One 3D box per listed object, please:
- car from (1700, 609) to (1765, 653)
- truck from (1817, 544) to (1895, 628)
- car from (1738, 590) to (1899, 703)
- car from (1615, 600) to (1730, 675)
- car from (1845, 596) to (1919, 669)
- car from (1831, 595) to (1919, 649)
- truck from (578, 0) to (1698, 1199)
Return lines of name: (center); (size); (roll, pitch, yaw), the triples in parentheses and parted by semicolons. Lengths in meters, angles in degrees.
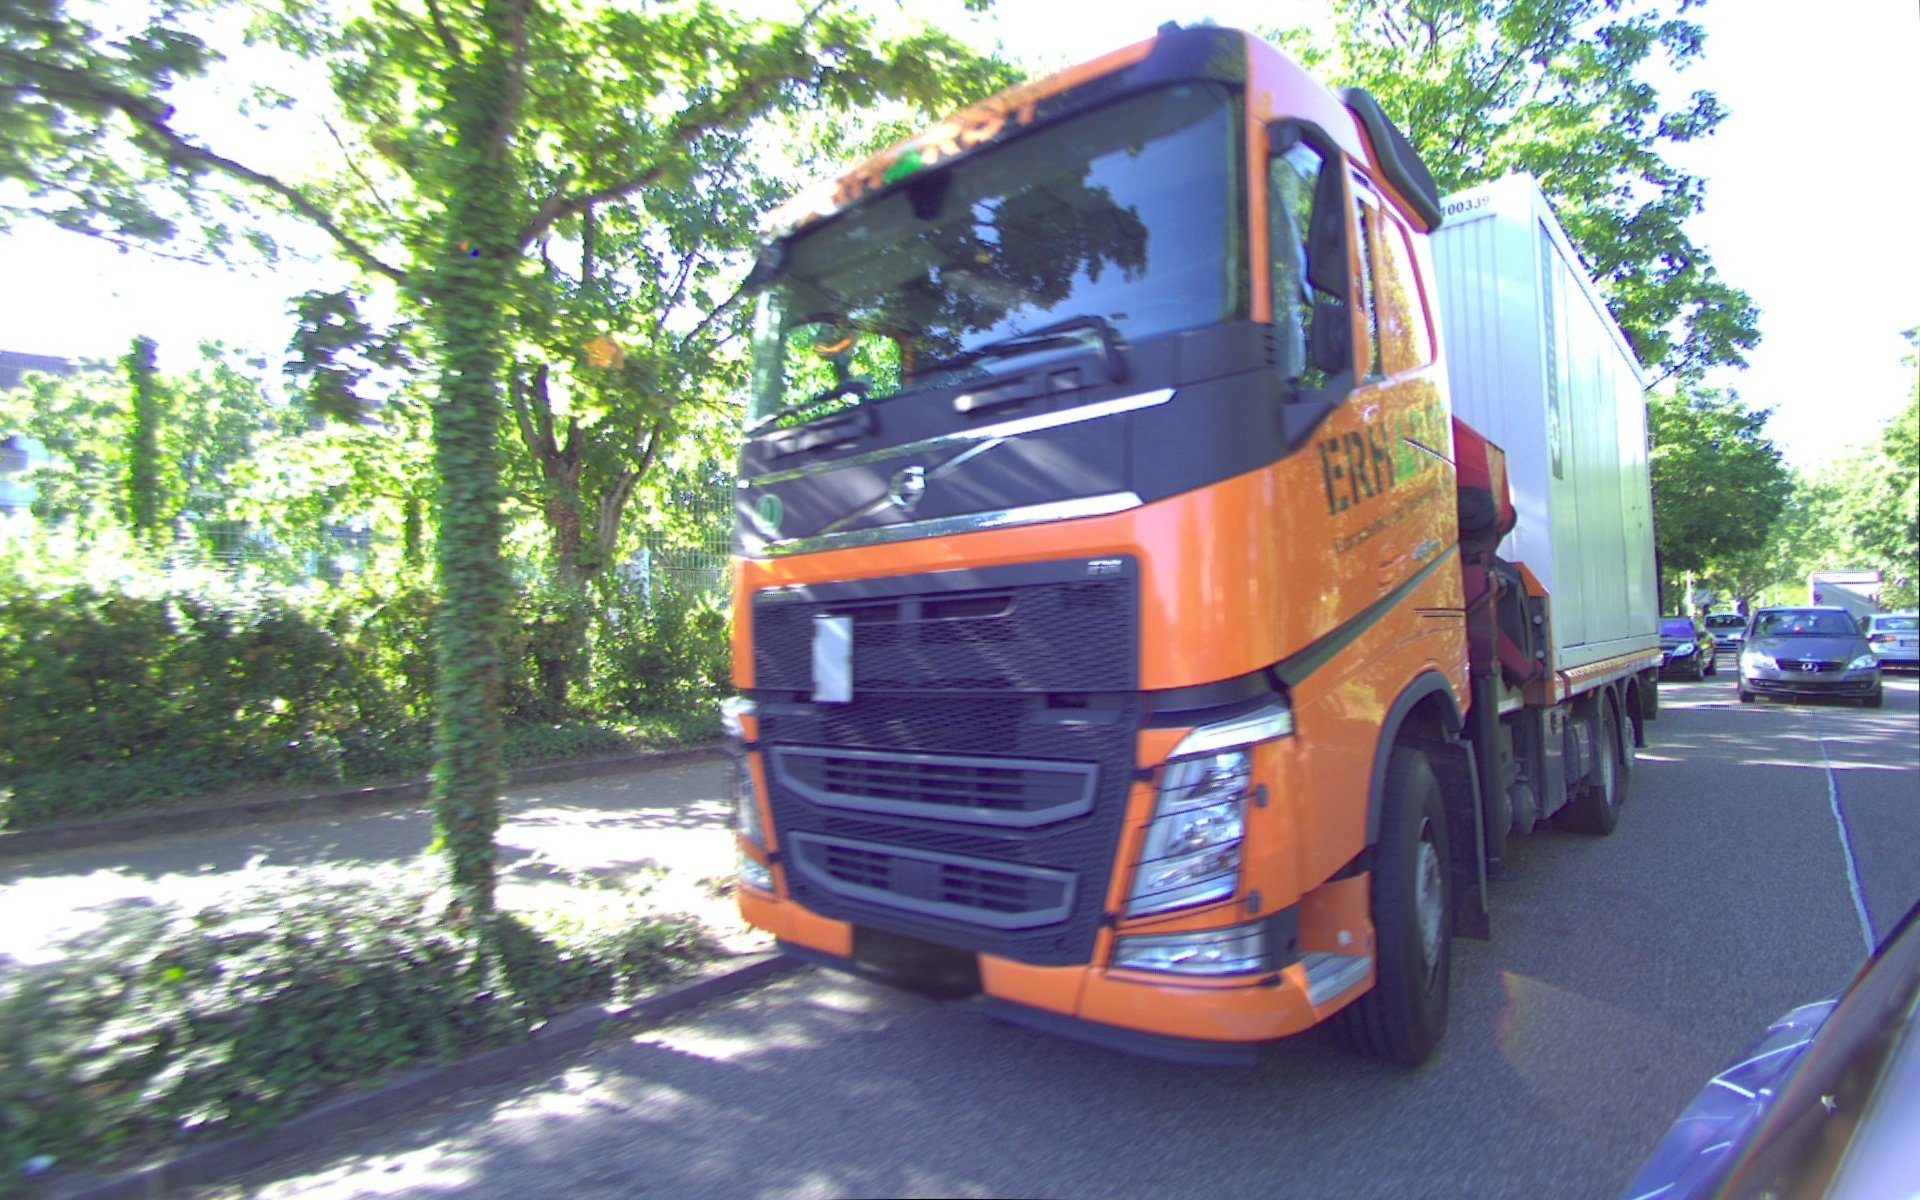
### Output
car: (32.020, 1.247, 41.953); (1.989, 1.730, 4.271); (-2, -2, 38)
truck: (46.932, -0.728, 53.197); (2.793, 4.069, 9.486); (0, 0, 40)
car: (14.347, 0.745, 17.013); (1.847, 1.666, 3.701); (-2, -2, 40)
car: (16.441, 0.832, 23.361); (1.968, 1.576, 4.098); (-2, -2, 36)
car: (22.307, 0.737, 23.808); (1.990, 1.605, 3.943); (-2, -2, 39)
car: (29.545, 0.708, 32.676); (1.966, 1.605, 3.943); (-2, -2, 39)
truck: (2.884, -0.678, 7.362); (3.154, 4.401, 10.427); (-2, -2, 40)
